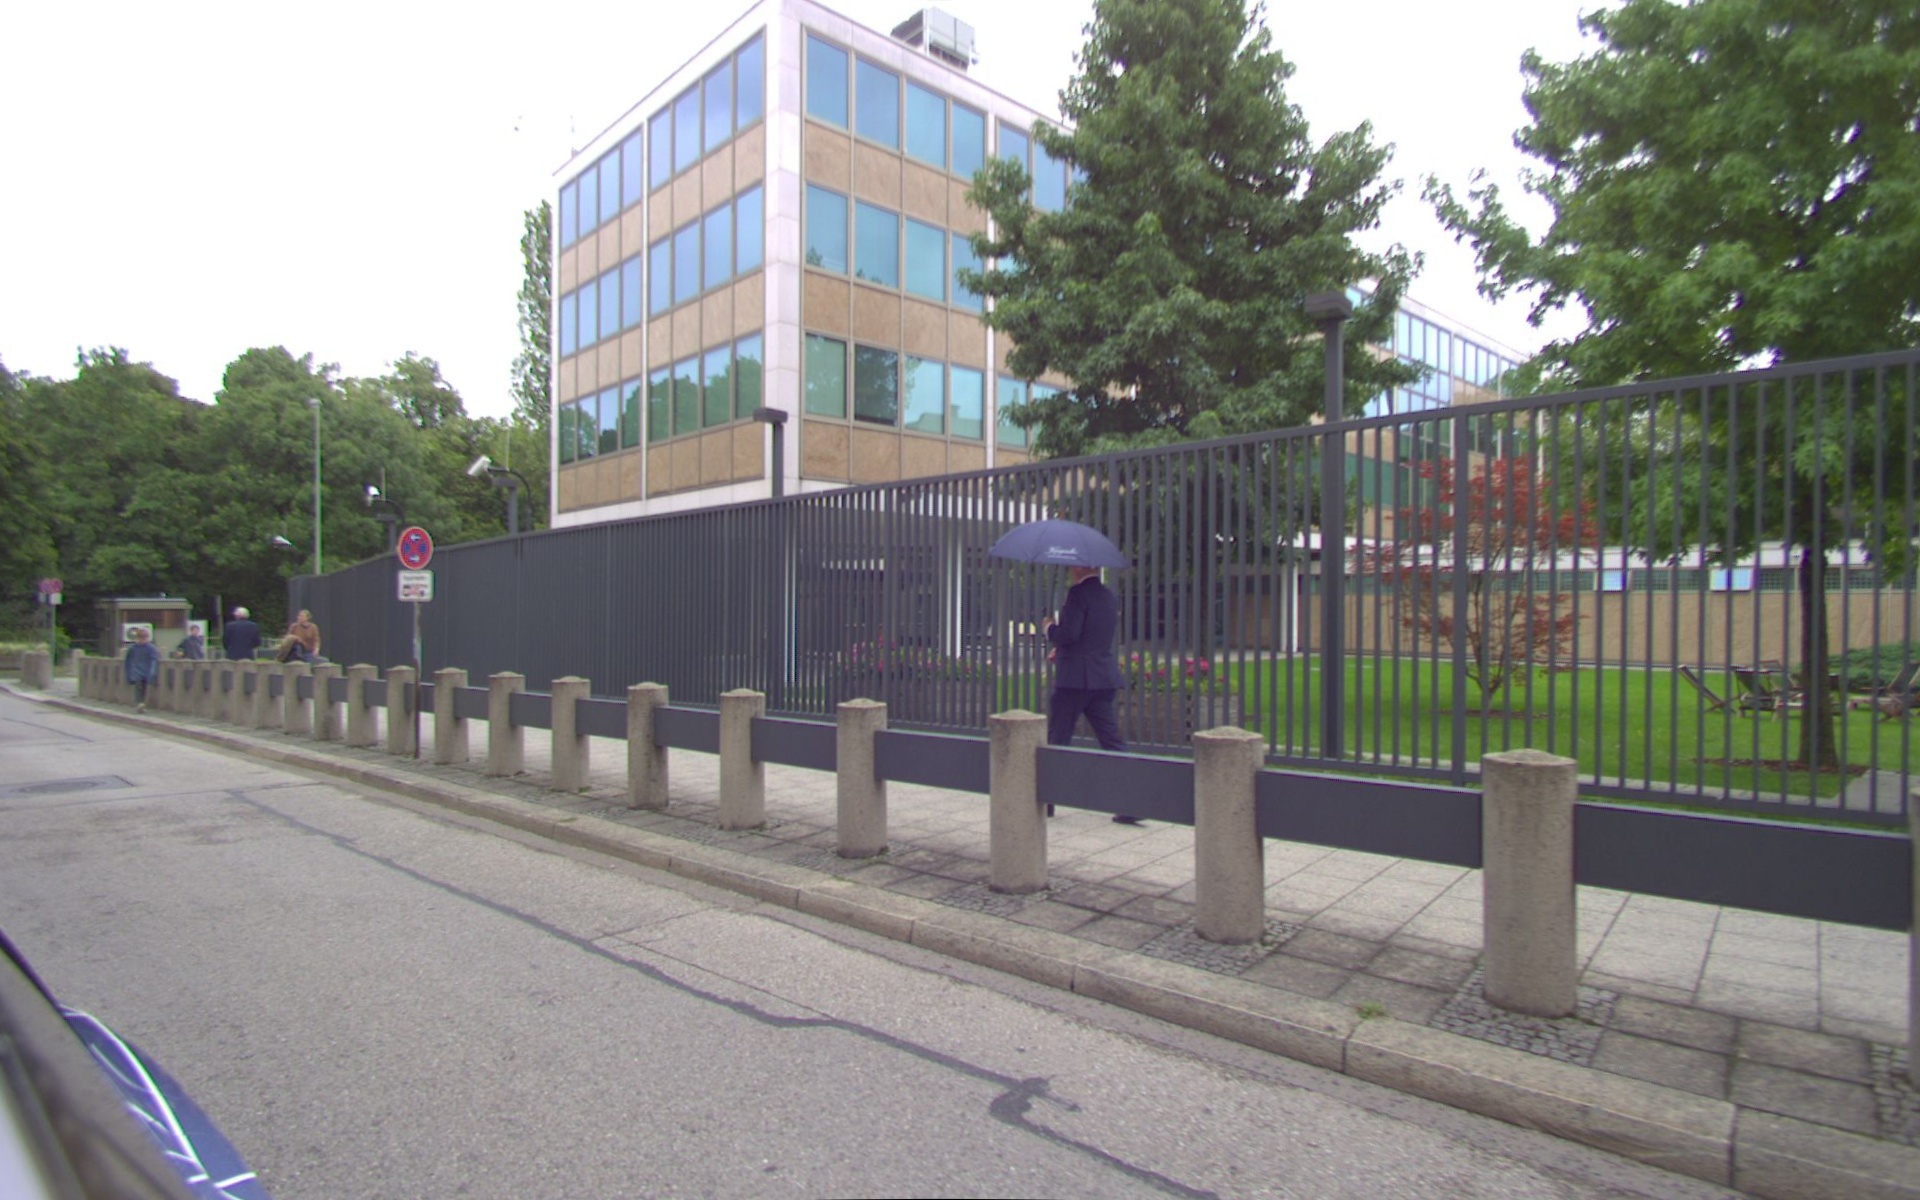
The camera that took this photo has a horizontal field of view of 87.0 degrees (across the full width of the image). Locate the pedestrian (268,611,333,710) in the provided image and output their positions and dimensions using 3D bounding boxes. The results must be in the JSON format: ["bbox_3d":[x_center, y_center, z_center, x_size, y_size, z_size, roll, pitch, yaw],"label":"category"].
[{"bbox_3d":[-12.200,1.102,18.726,0.814,1.736,0.906,-2,0,-44],"label":"pedestrian"}]

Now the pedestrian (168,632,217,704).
[{"bbox_3d":[-17.217,1.503,22.693,0.767,1.551,0.934,-2,0,-41],"label":"pedestrian"}]

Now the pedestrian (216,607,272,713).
[{"bbox_3d":[-12.413,1.030,17.536,0.766,1.782,0.617,-2,-2,41],"label":"pedestrian"}]

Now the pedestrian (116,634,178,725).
[{"bbox_3d":[-14.012,1.350,17.437,1.078,1.478,0.631,-2,0,42],"label":"pedestrian"}]

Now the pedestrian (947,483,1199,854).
[{"bbox_3d":[0.742,0.406,6.612,1.116,2.120,1.209,-2,-2,43],"label":"pedestrian"}]
